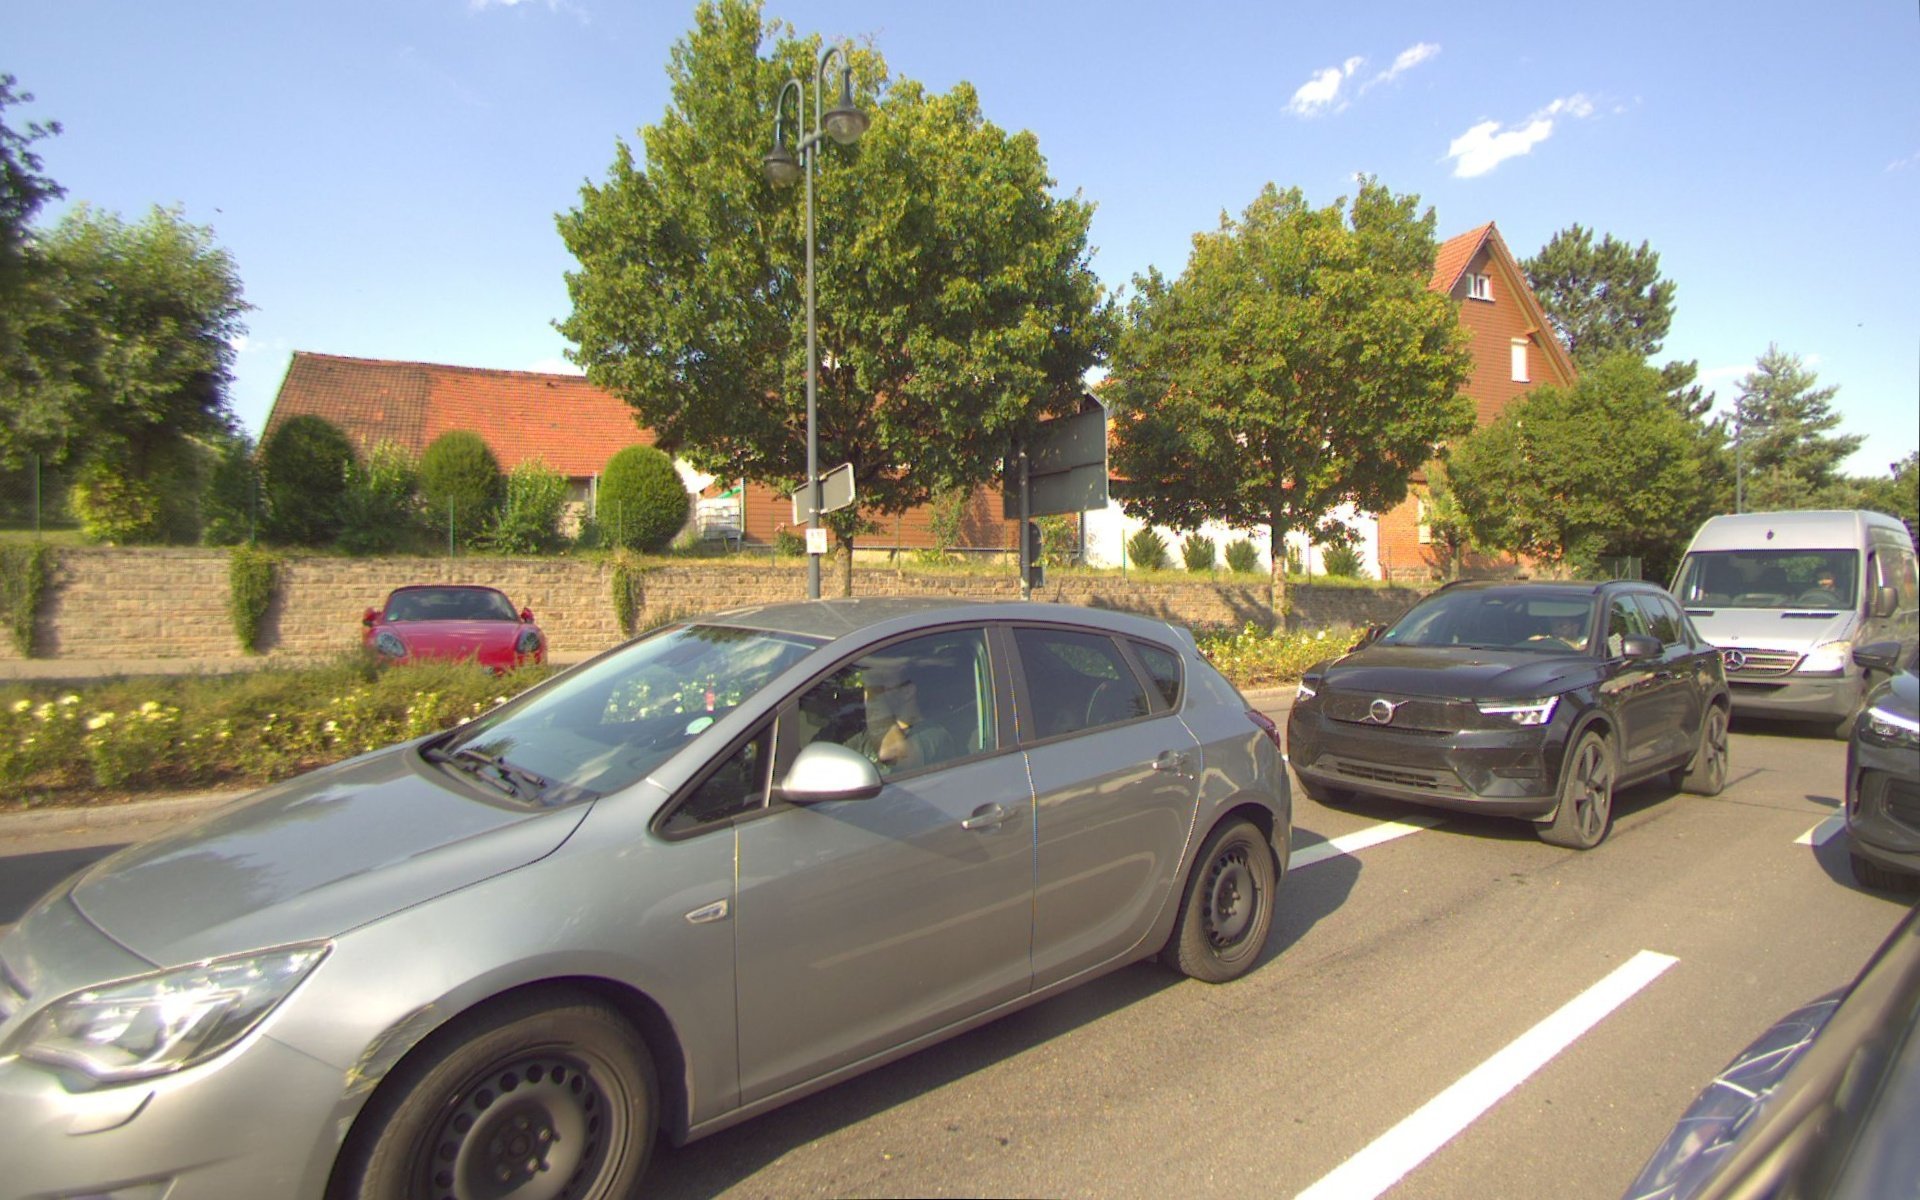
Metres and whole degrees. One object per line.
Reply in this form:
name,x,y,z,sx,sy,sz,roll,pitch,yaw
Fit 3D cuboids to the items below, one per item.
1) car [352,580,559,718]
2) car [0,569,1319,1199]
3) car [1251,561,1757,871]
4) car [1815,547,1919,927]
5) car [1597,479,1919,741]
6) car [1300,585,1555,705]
car,-5.825,0.448,11.702,1.816,1.288,4.005,0,0,-28
car,-0.618,0.669,3.479,4.095,1.460,1.746,0,0,-41
car,4.094,0.593,7.350,4.054,1.629,1.885,0,0,-40
car,6.374,0.598,5.511,4.646,1.677,1.893,0,0,-40
car,10.516,0.077,12.864,6.082,2.579,2.369,0,0,-40
car,6.999,0.567,14.985,4.126,1.538,1.820,0,0,-39
